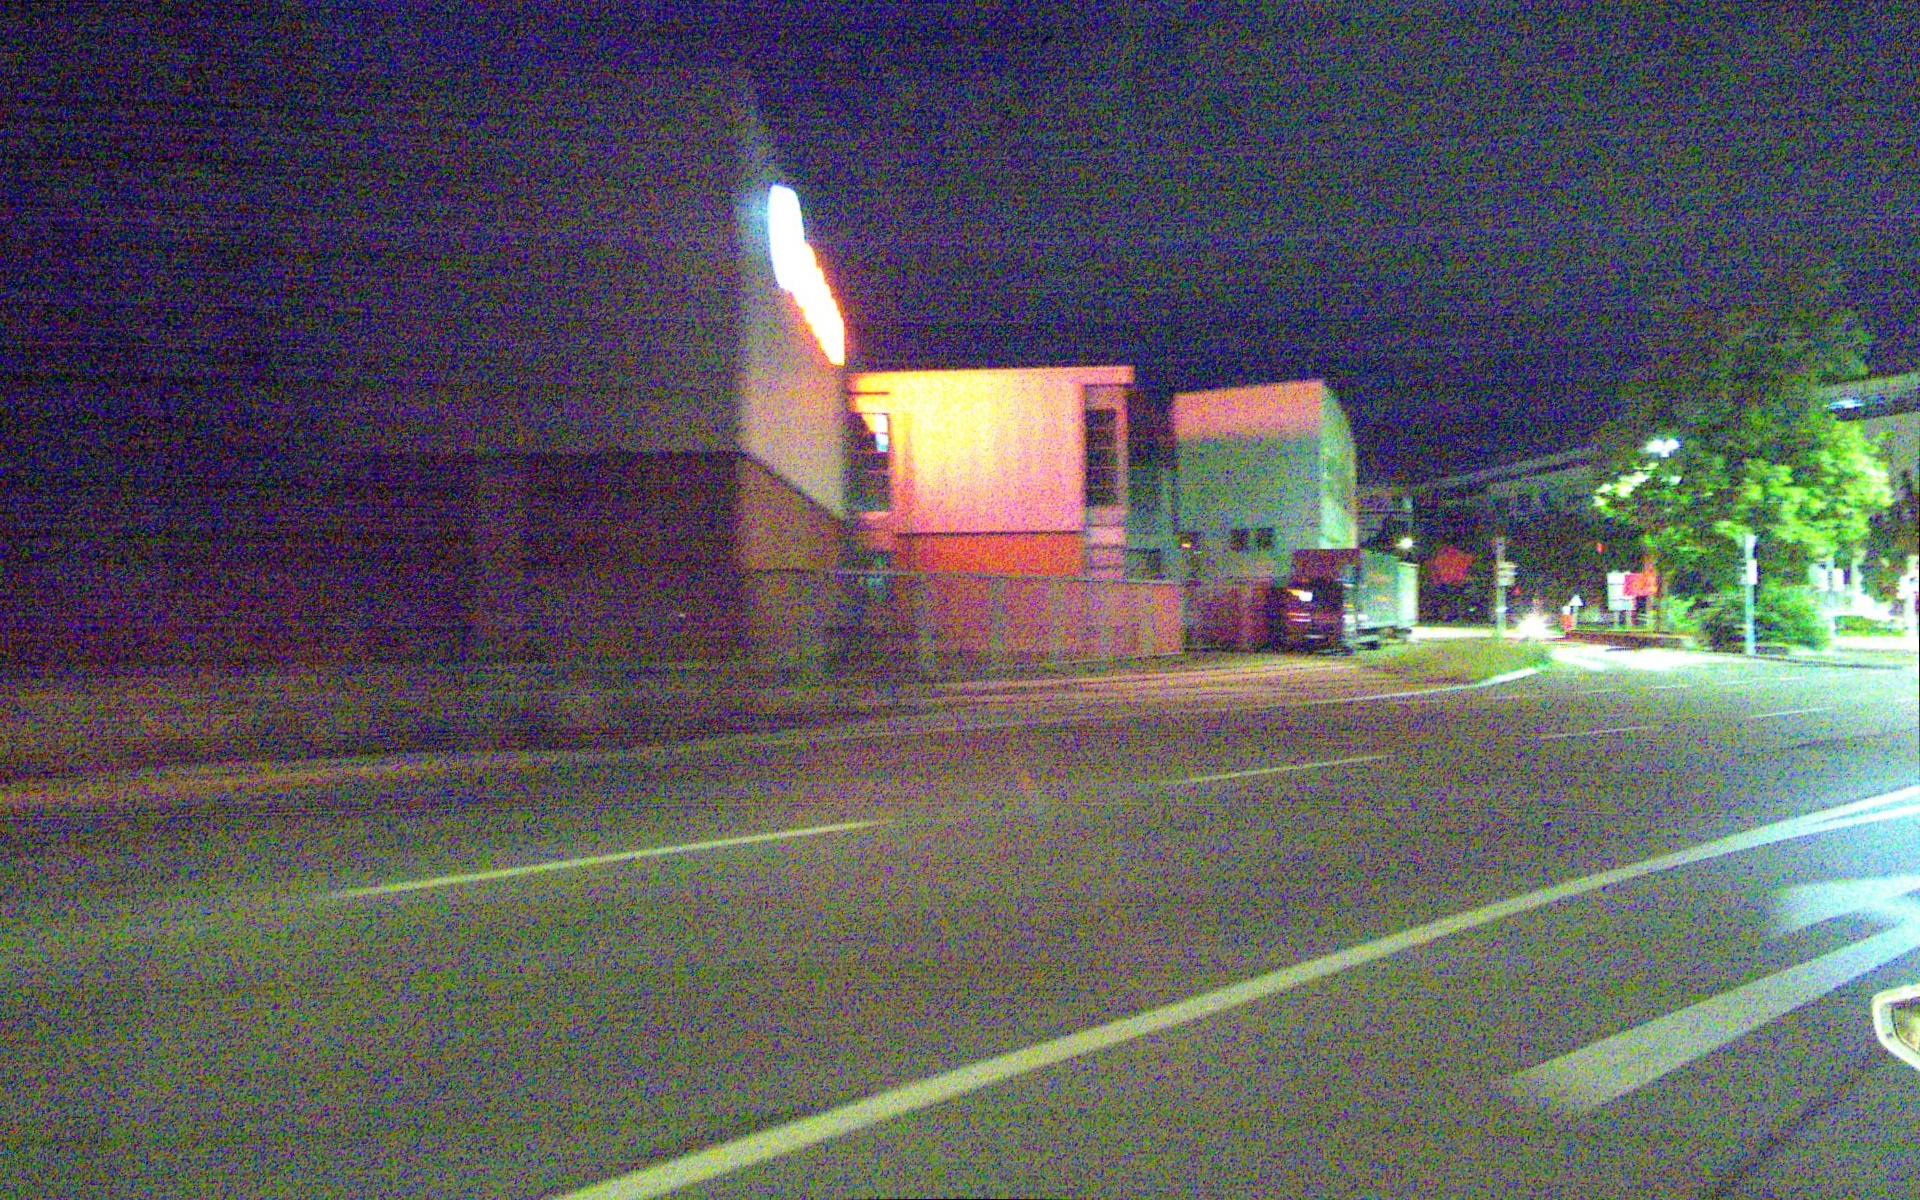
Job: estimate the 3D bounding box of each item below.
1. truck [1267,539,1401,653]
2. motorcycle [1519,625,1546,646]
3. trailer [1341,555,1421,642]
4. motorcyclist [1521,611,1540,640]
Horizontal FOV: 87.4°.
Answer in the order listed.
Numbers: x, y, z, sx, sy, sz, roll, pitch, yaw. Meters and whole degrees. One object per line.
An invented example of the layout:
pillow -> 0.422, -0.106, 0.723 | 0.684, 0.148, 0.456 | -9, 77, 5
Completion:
truck -> 14.575, -0.057, 38.577 | 2.897, 3.847, 9.533 | 1, -1, 32
motorcycle -> 26.003, 1.593, 45.616 | 0.568, 0.908, 2.156 | -2, -2, 17
trailer -> 20.042, 0.000, 47.620 | 2.576, 3.841, 6.501 | 1, -1, 31
motorcyclist -> 25.851, 1.140, 45.497 | 0.635, 1.278, 0.579 | 1, 0, 17
